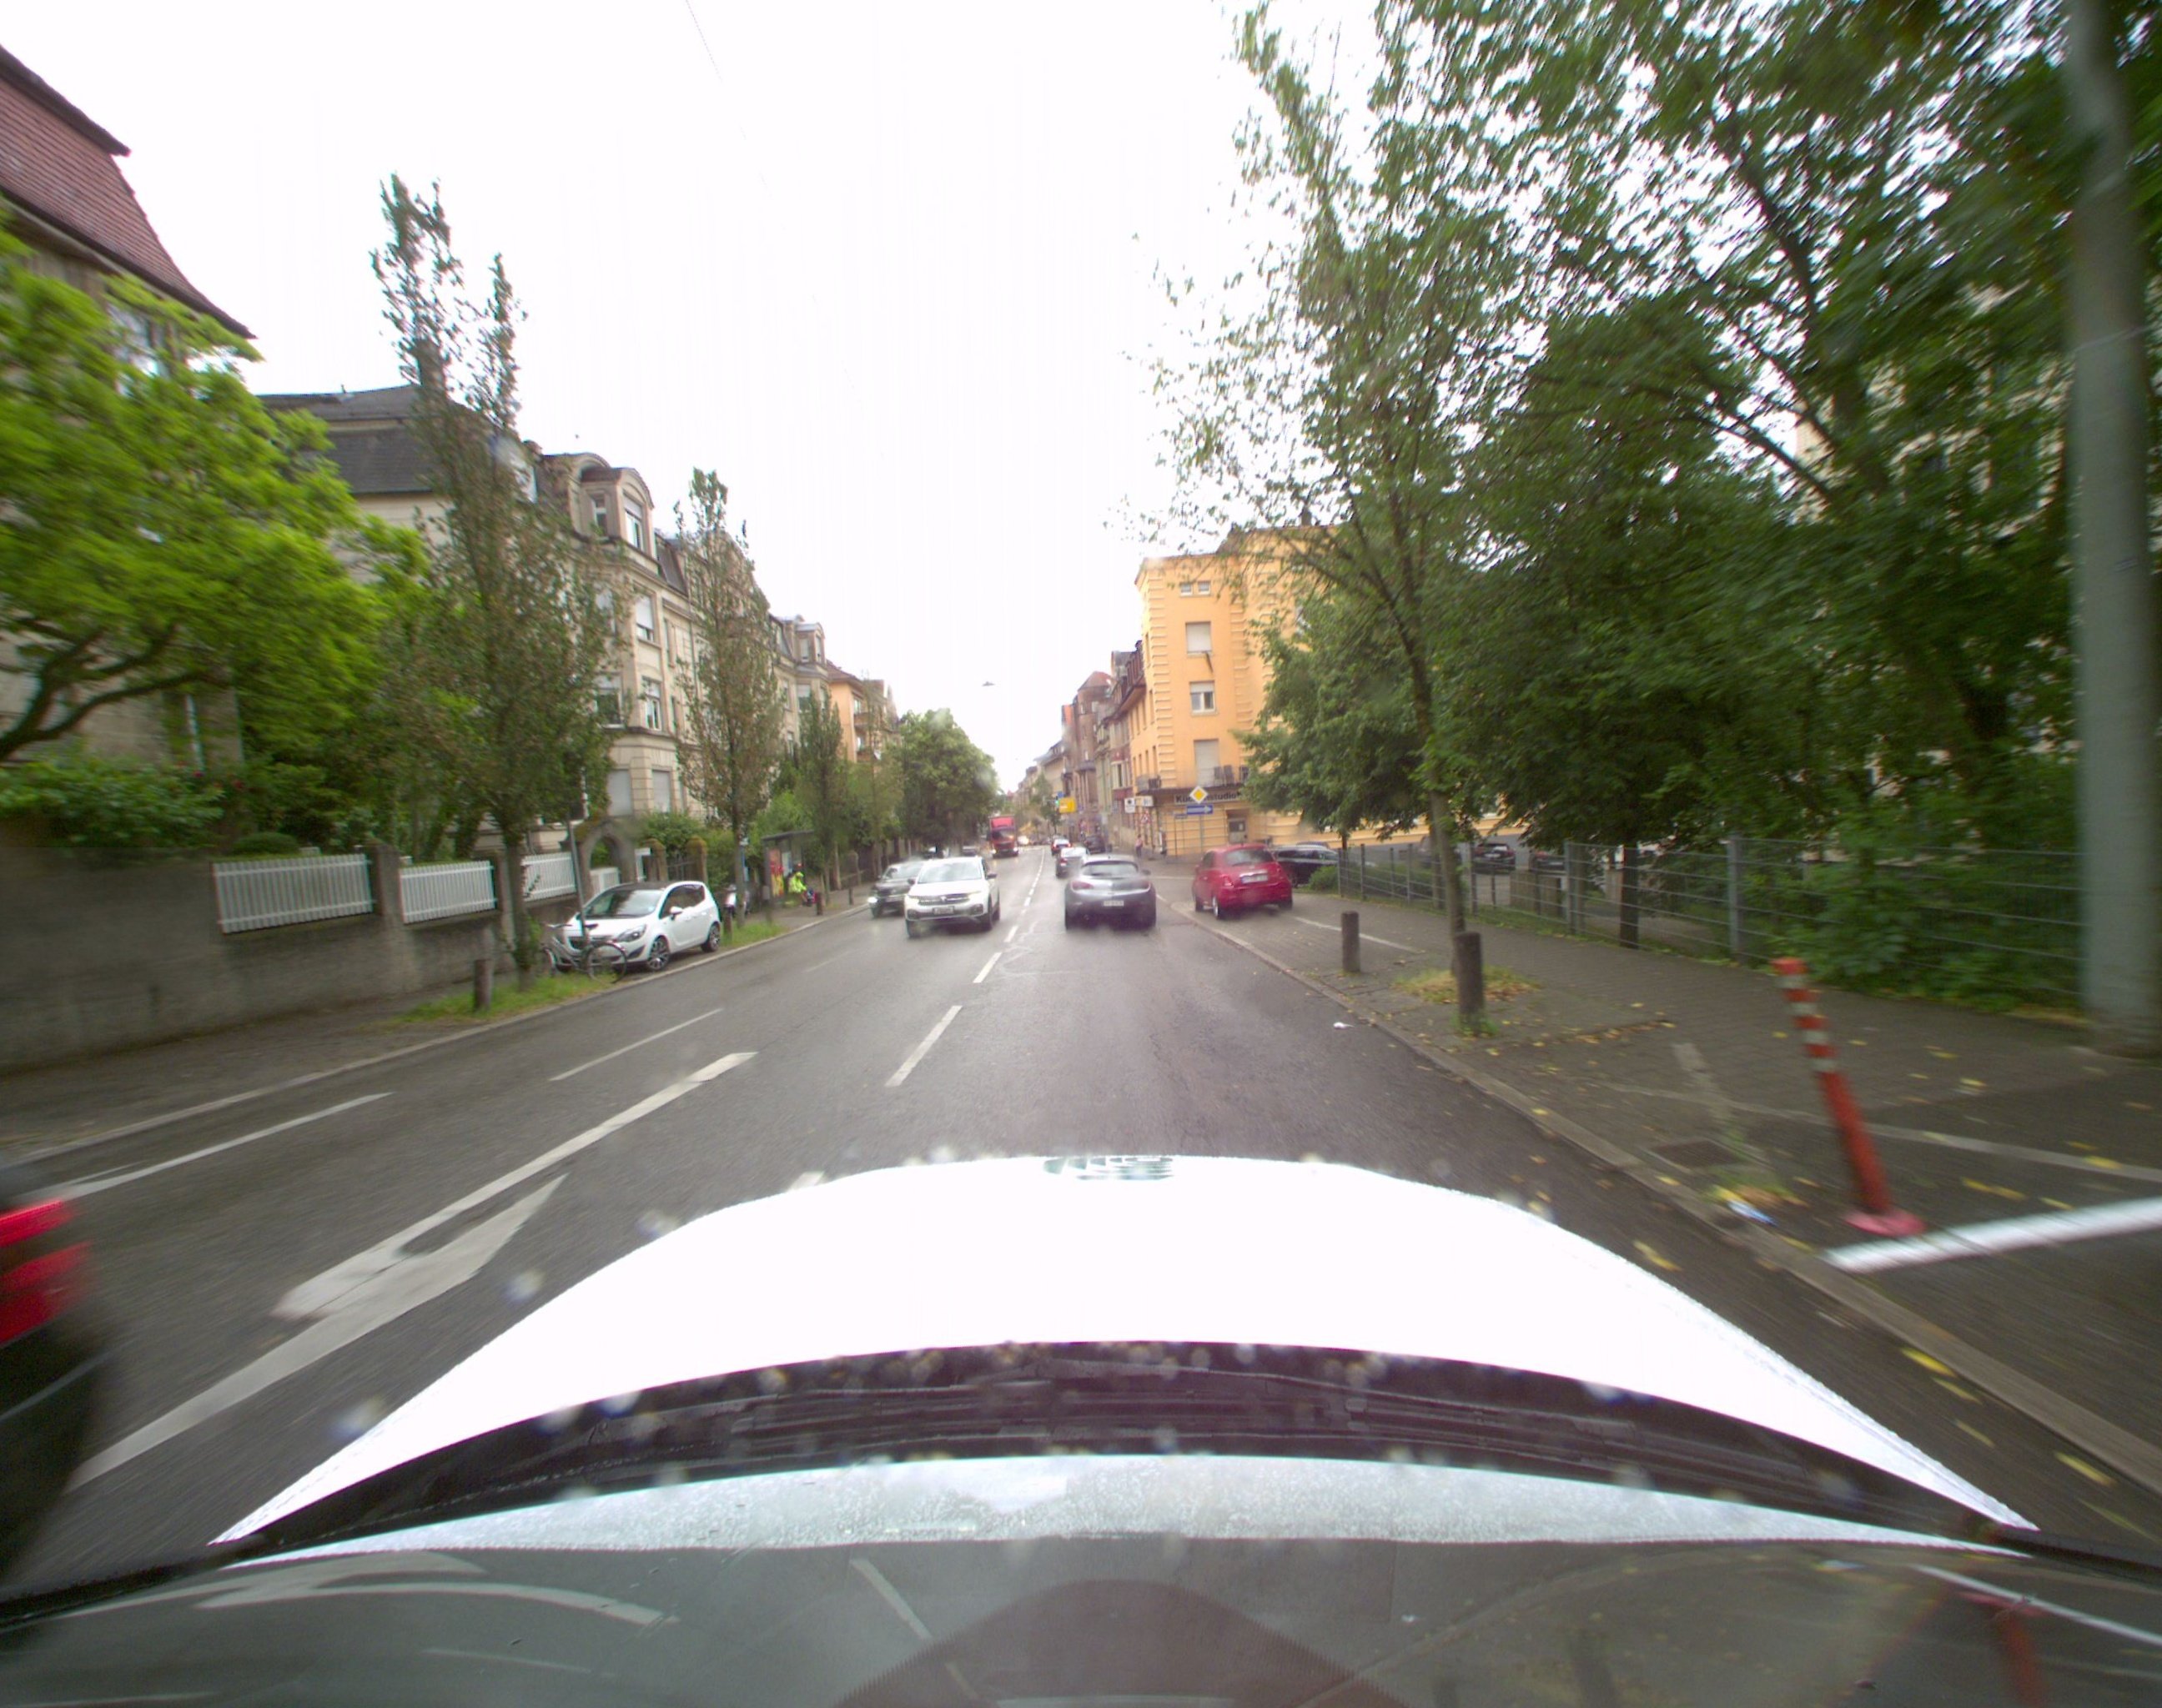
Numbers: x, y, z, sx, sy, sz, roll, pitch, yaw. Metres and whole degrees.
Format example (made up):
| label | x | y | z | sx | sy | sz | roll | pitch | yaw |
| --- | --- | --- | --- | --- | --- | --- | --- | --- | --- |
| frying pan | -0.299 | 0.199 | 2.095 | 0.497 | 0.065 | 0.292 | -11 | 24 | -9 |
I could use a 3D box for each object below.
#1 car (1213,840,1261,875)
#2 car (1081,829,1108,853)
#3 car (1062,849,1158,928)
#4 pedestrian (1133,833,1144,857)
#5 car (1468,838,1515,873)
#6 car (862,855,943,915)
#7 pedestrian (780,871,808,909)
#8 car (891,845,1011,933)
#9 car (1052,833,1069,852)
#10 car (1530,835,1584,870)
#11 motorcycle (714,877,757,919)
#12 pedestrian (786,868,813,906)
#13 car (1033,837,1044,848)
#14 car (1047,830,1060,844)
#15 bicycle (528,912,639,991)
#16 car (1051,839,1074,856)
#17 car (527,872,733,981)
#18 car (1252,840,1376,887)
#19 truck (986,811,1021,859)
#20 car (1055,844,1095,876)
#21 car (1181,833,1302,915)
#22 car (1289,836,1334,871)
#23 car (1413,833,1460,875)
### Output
| label | x | y | z | sx | sy | sz | roll | pitch | yaw |
| --- | --- | --- | --- | --- | --- | --- | --- | --- | --- |
| car | 6.857 | 0.119 | 35.536 | 1.763 | 1.429 | 3.801 | -1 | 1 | 15 |
| car | 1.153 | -1.113 | 69.783 | 1.988 | 1.689 | 3.998 | -7 | 0 | -1 |
| car | 0.569 | 0.647 | 17.612 | 1.809 | 1.429 | 4.000 | -2 | 1 | 0 |
| pedestrian | 3.726 | -0.575 | 52.820 | 0.611 | 1.496 | 0.553 | -2 | 2 | 1 |
| car | 18.348 | 0.040 | 36.495 | 1.760 | 1.429 | 3.808 | -1 | 2 | 25 |
| car | -5.432 | 0.896 | 25.106 | 1.616 | 1.650 | 3.144 | -4 | 0 | 2 |
| pedestrian | -10.740 | 1.340 | 30.531 | 0.704 | 1.343 | 0.613 | -6 | 0 | 1 |
| car | -2.753 | 0.700 | 18.165 | 1.816 | 1.650 | 4.001 | -4 | 0 | 2 |
| car | -2.068 | -1.168 | 82.209 | 1.636 | 1.688 | 3.715 | -2 | 4 | -2 |
| car | 21.172 | -0.106 | 36.338 | 1.760 | 1.429 | 3.808 | -1 | 2 | 25 |
| motorcycle | -10.915 | 1.376 | 25.750 | 0.557 | 1.237 | 1.645 | -3 | -1 | 2 |
| pedestrian | -10.777 | 1.253 | 31.177 | 0.704 | 1.343 | 0.613 | -6 | 0 | 1 |
| car | -7.660 | -2.046 | 147.230 | 1.779 | 1.855 | 3.992 | -1 | -1 | -5 |
| car | -3.460 | -2.135 | 102.912 | 1.636 | 1.536 | 3.713 | -2 | 0 | -2 |
| bicycle | -8.265 | 1.607 | 13.549 | 1.460 | 1.120 | 0.380 | -6 | 0 | -6 |
| car | -1.590 | -0.556 | 69.034 | 1.764 | 1.415 | 3.711 | -1 | 0 | -4 |
| car | -8.719 | 1.296 | 16.233 | 1.784 | 1.651 | 4.191 | -6 | 0 | -3 |
| car | 8.038 | 0.343 | 28.277 | 3.764 | 1.430 | 1.780 | 2 | -2 | -3 |
| truck | -7.223 | -1.903 | 77.390 | 2.783 | 4.131 | 10.839 | -3 | 2 | -4 |
| car | -0.265 | 0.284 | 38.934 | 1.770 | 1.430 | 3.785 | 0 | -1 | 0 |
| car | 3.491 | 0.439 | 18.473 | 1.809 | 1.467 | 3.999 | -7 | -1 | 0 |
| car | 10.438 | -0.041 | 36.763 | 1.762 | 1.429 | 3.804 | -1 | 2 | 18 |
| car | 15.621 | -0.028 | 35.835 | 1.760 | 1.666 | 3.807 | -1 | 2 | 23 |
